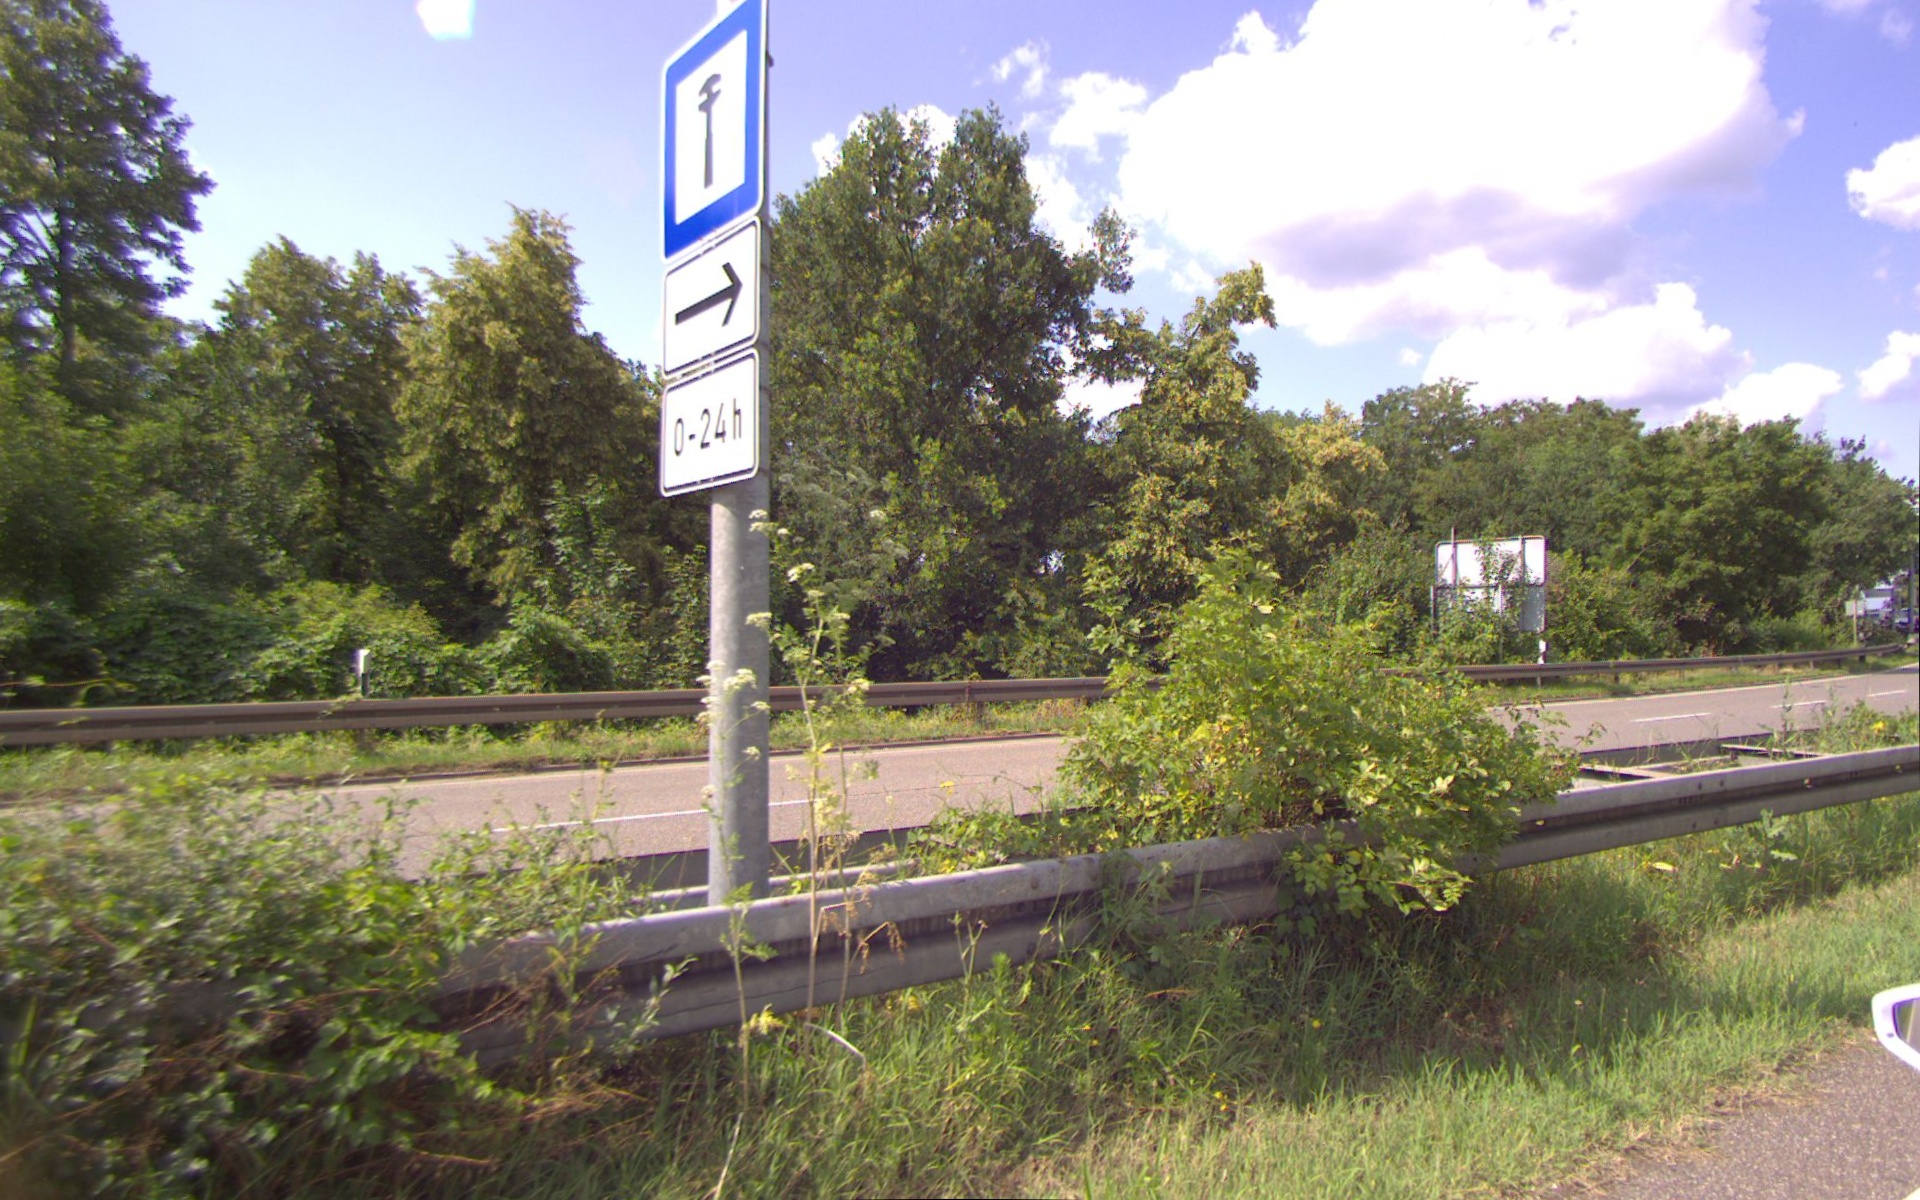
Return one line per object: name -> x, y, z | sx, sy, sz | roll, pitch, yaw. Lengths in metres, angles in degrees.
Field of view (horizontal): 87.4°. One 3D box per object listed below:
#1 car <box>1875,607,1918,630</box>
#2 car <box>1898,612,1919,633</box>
car -> 75.278, 1.495, 80.780 | 1.818, 1.826, 4.314 | -1, -1, 33
car -> 71.659, 1.652, 74.995 | 1.708, 1.496, 4.035 | -1, -1, 33
